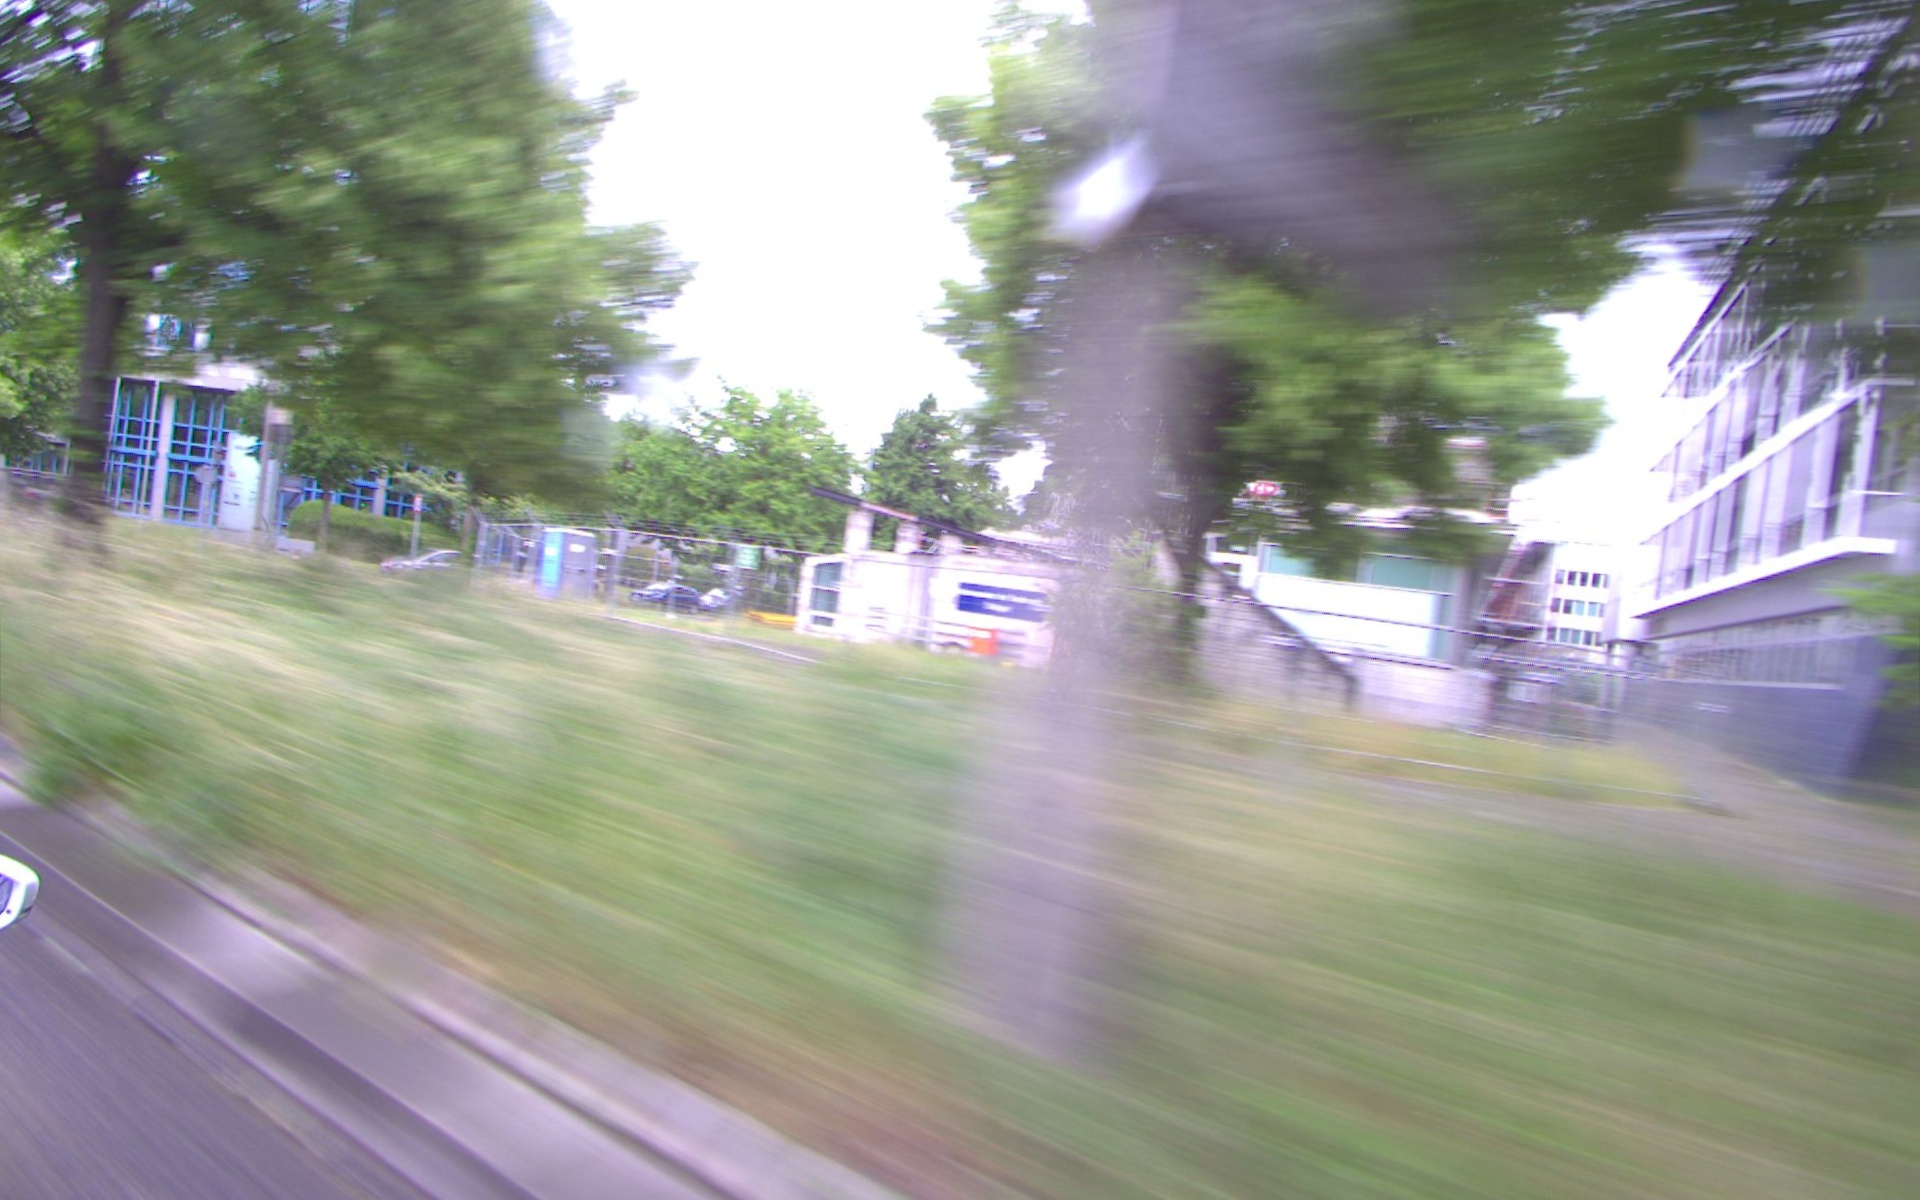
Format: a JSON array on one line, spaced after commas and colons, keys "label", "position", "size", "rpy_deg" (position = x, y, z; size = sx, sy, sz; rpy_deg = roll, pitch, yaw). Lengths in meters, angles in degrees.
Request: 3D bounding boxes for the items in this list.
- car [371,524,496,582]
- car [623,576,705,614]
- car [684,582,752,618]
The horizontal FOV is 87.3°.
[{"label": "car", "position": [-21.648, -1.910, 41.473], "size": [1.730, 1.662, 4.098], "rpy_deg": [11, 1, 36]}, {"label": "car", "position": [-15.482, -0.230, 52.835], "size": [1.726, 1.451, 4.107], "rpy_deg": [10, 1, 25]}, {"label": "car", "position": [-13.741, 0.027, 57.391], "size": [1.725, 1.641, 4.110], "rpy_deg": [10, 1, 18]}]
